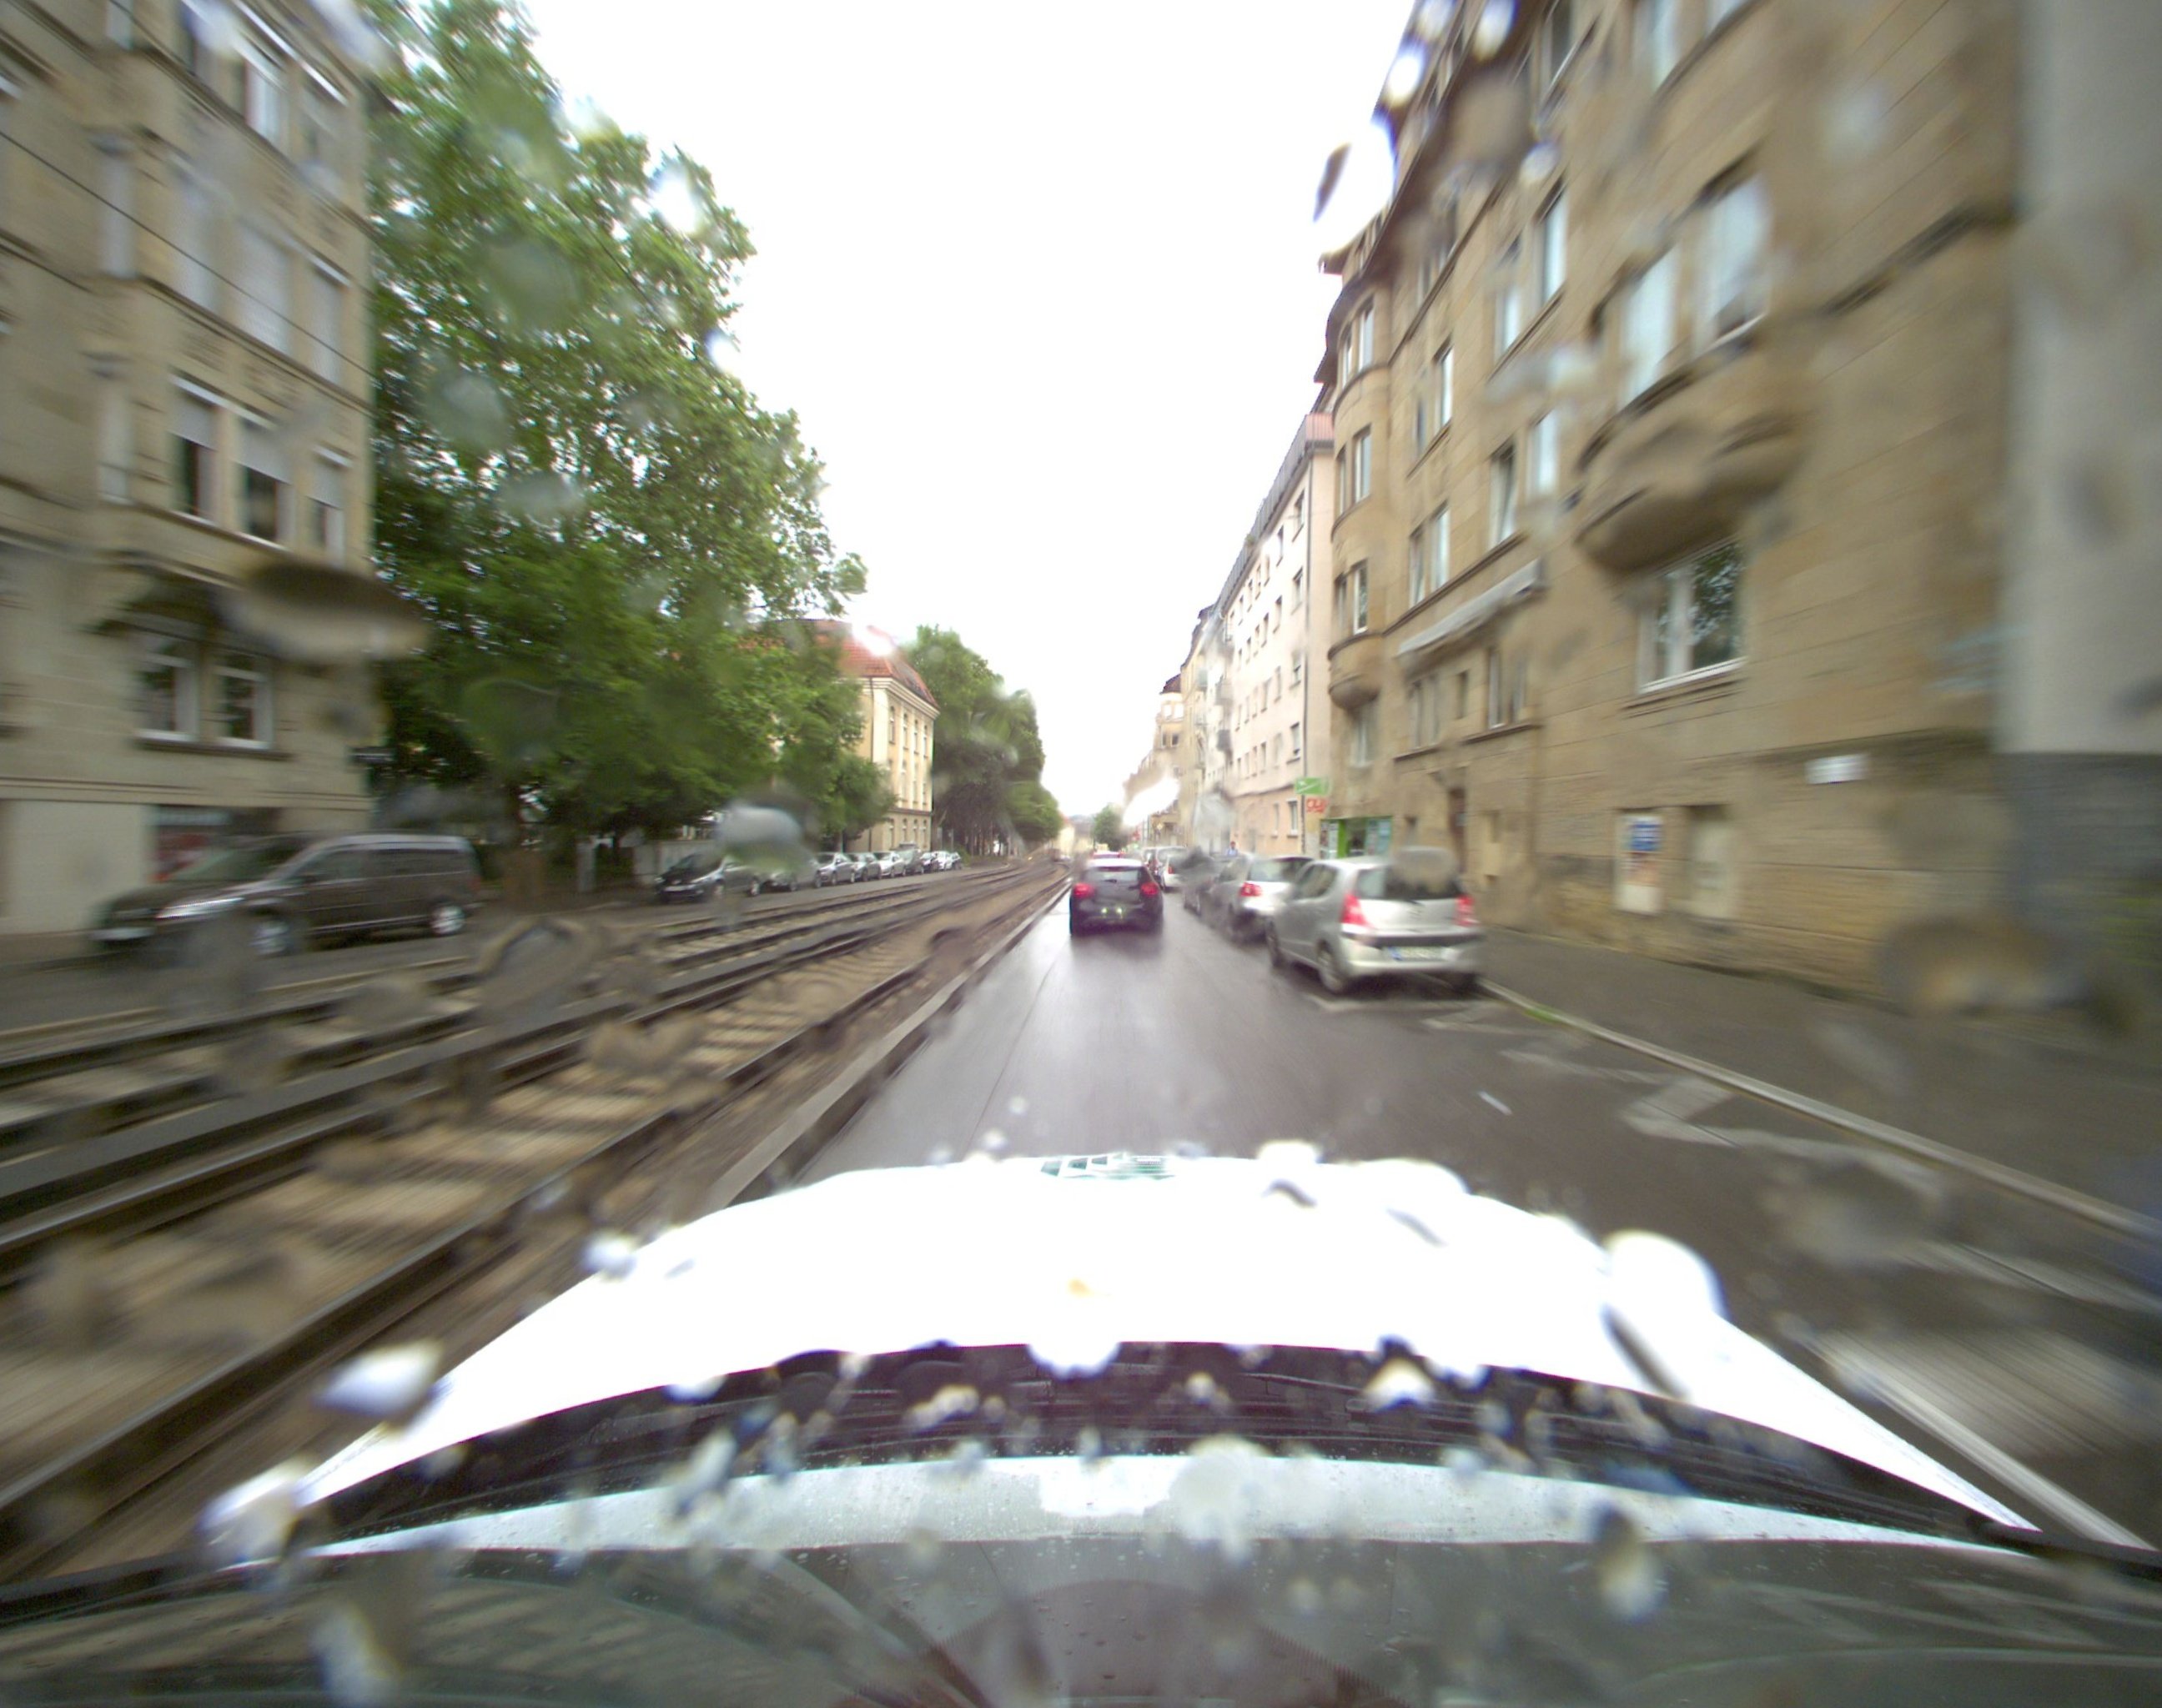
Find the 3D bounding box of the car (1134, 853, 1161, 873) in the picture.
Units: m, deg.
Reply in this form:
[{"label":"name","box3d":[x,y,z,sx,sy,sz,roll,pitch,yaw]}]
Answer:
[{"label":"car","box3d":[4.783,0.633,58.968,1.711,1.347,4.463,1,0,1]}]

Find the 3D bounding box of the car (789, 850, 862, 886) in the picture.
[{"label":"car","box3d":[-11.090,0.568,35.603,1.748,1.413,4.154,-2,0,1]}]

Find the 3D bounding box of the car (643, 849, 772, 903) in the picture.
[{"label":"car","box3d":[-11.309,0.607,25.056,1.843,1.464,4.550,-2,0,0]}]

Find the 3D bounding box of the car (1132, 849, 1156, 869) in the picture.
[{"label":"car","box3d":[4.934,0.358,64.005,1.687,1.529,4.002,0,0,2]}]

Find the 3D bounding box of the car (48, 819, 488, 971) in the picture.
[{"label":"car","box3d":[-11.871,0.494,12.533,1.794,1.846,4.820,-1,0,2]}]

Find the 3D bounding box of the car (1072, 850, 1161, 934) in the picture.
[{"label":"car","box3d":[0.675,0.668,16.313,1.574,1.504,3.575,0,0,1]}]

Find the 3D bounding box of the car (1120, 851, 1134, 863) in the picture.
[{"label":"car","box3d":[6.665,0.383,118.457,1.820,1.618,3.866,-2,1,2]}]

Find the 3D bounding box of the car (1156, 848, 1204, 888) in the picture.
[{"label":"car","box3d":[3.807,0.513,31.797,1.564,1.462,3.601,-1,0,2]}]

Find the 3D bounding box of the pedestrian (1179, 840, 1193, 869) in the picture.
[{"label":"pedestrian","box3d":[6.924,0.032,53.791,0.743,1.833,1.039,-3,0,3]}]

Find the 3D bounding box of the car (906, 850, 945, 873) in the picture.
[{"label":"car","box3d":[-10.578,0.489,55.616,1.668,1.413,4.013,-2,0,3]}]

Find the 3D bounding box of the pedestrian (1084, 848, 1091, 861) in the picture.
[{"label":"pedestrian","box3d":[0.858,0.017,102.183,0.803,1.633,0.892,-2,0,2]}]

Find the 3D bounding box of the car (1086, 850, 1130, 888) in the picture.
[{"label":"car","box3d":[1.187,0.608,35.555,1.778,1.581,4.002,0,0,2]}]

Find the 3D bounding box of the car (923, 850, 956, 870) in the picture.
[{"label":"car","box3d":[-10.423,0.407,60.131,1.494,1.391,3.990,-2,0,3]}]

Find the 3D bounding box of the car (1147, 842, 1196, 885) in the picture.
[{"label":"car","box3d":[3.952,0.388,36.241,1.784,1.765,4.213,-1,0,1]}]

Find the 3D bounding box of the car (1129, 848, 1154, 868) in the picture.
[{"label":"car","box3d":[5.161,0.311,69.707,1.760,1.668,4.331,1,0,0]}]

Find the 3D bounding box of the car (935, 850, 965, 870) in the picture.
[{"label":"car","box3d":[-10.364,0.453,64.658,1.608,1.429,3.854,-1,1,1]}]

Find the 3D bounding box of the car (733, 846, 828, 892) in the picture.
[{"label":"car","box3d":[-11.160,0.515,30.597,1.748,1.536,4.544,-2,0,1]}]

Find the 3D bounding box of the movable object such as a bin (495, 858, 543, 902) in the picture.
[{"label":"movable object such as a bin","box3d":[-14.925,0.678,21.652,0.714,1.120,0.774,1,0,3]}]

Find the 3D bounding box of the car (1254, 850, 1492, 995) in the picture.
[{"label":"car","box3d":[3.338,0.684,10.038,1.585,1.434,3.683,-1,0,0]}]

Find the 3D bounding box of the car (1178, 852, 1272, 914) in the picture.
[{"label":"car","box3d":[3.588,0.664,20.962,1.664,1.410,4.311,-1,0,0]}]

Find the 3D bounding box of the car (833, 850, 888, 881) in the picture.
[{"label":"car","box3d":[-10.845,0.528,40.333,1.534,1.413,3.954,-2,0,1]}]

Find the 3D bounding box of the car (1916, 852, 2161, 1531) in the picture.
[{"label":"car","box3d":[3.015,0.709,0.484,1.538,1.415,3.446,0,0,0]}]

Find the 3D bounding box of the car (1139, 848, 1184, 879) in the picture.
[{"label":"car","box3d":[3.985,0.442,41.230,1.865,1.455,4.903,0,0,1]}]

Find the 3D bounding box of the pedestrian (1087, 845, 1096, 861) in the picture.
[{"label":"pedestrian","box3d":[1.375,-0.102,106.640,1.135,1.998,1.171,-2,0,-2]}]

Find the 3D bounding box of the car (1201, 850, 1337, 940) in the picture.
[{"label":"car","box3d":[3.371,0.666,15.302,1.662,1.434,3.956,-1,0,1]}]

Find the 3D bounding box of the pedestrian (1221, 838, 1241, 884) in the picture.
[{"label":"pedestrian","box3d":[5.866,0.273,31.865,0.605,1.763,0.688,-2,0,1]}]

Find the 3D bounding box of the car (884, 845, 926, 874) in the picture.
[{"label":"car","box3d":[-10.714,0.316,49.915,1.571,1.643,4.072,-2,0,1]}]

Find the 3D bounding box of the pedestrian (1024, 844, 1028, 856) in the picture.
[{"label":"pedestrian","box3d":[-8.378,-0.608,123.982,0.532,1.754,0.607,2,0,2]}]

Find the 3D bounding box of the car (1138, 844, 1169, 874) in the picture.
[{"label":"car","box3d":[4.461,0.294,50.648,1.820,1.750,4.471,0,0,3]}]

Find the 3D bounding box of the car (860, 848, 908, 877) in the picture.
[{"label":"car","box3d":[-10.858,0.433,45.187,1.534,1.505,4.155,-2,0,1]}]
